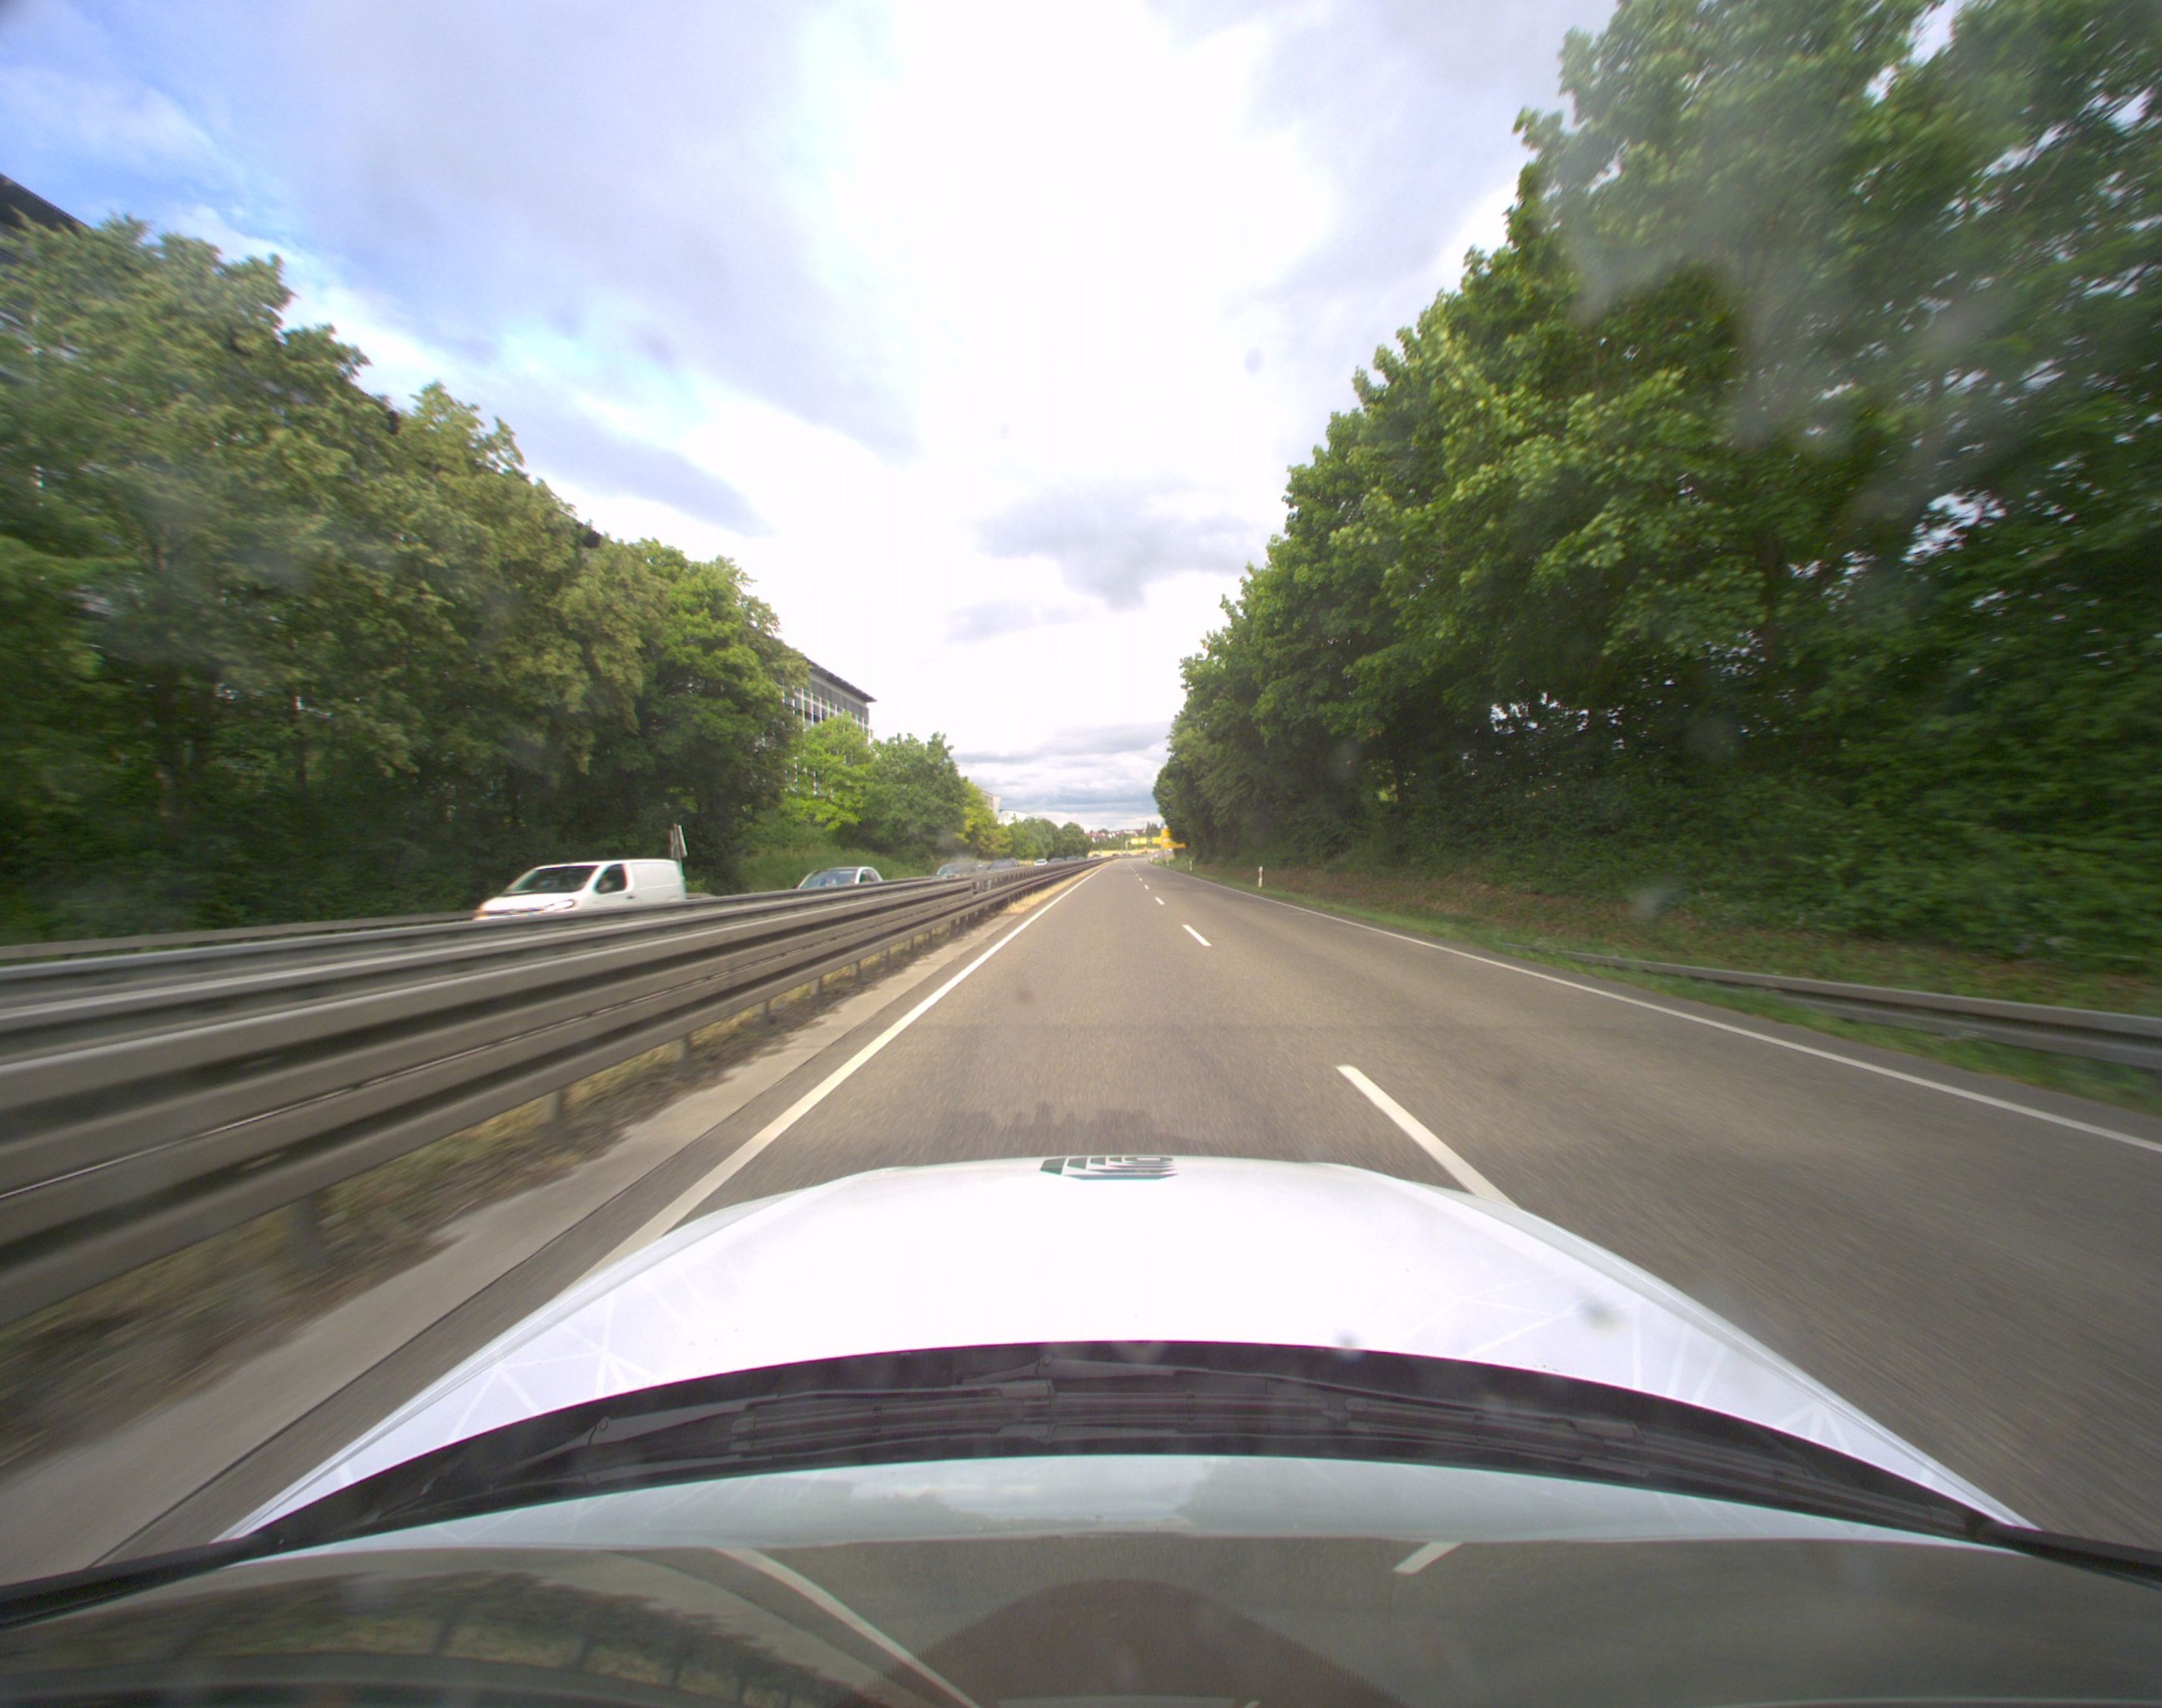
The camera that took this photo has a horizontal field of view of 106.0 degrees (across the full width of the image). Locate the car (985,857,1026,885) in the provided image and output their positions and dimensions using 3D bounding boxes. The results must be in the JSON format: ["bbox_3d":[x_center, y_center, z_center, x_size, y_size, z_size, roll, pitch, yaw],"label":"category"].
[{"bbox_3d":[-4.580,0.986,50.014,1.813,1.584,4.319,-2,0,3],"label":"car"}]

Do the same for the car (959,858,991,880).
[{"bbox_3d":[-8.037,1.088,62.201,1.736,1.589,4.313,-1,0,2],"label":"car"}]

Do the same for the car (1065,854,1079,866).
[{"bbox_3d":[-1.289,0.924,119.572,1.736,1.645,5.283,-2,0,3],"label":"car"}]

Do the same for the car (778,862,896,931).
[{"bbox_3d":[-5.985,0.999,20.416,1.675,1.486,3.648,-2,0,2],"label":"car"}]

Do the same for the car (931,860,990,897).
[{"bbox_3d":[-4.845,0.938,33.167,1.669,1.352,3.833,-2,0,2],"label":"car"}]

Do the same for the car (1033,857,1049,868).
[{"bbox_3d":[-5.475,1.129,112.141,1.809,1.485,4.420,0,0,3],"label":"car"}]

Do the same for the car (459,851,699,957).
[{"bbox_3d":[-10.126,0.901,16.959,1.860,1.855,4.627,-2,0,3],"label":"car"}]
